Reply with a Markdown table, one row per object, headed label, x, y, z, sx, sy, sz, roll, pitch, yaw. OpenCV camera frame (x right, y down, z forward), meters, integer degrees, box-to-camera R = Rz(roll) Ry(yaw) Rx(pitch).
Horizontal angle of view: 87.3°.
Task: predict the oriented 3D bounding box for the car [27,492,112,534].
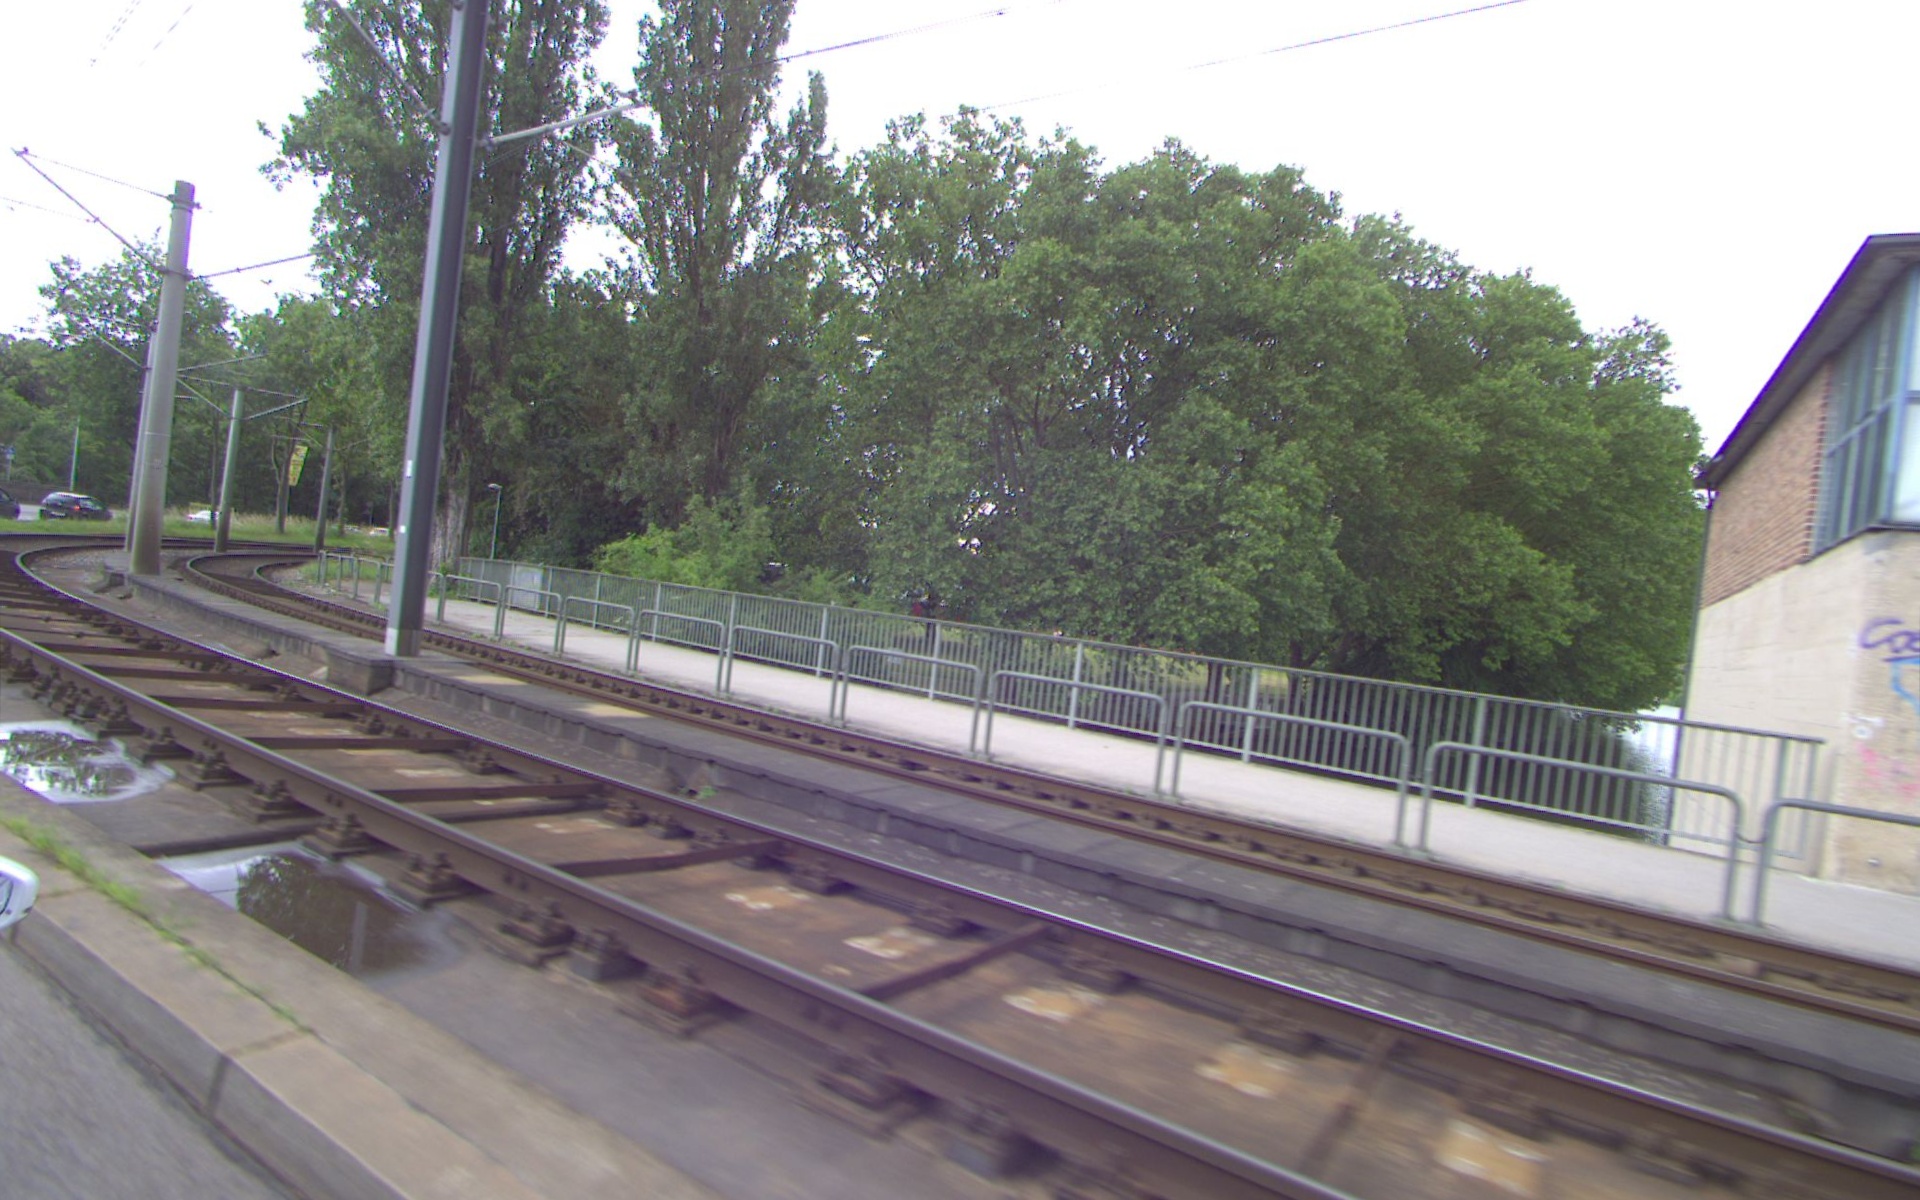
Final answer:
| label | x | y | z | sx | sy | sz | roll | pitch | yaw |
| --- | --- | --- | --- | --- | --- | --- | --- | --- | --- |
| car | -42.181 | -4.082 | 47.752 | 1.754 | 1.574 | 4.214 | 7 | 0 | -25 |

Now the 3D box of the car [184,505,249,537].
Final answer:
| label | x | y | z | sx | sy | sz | roll | pitch | yaw |
| --- | --- | --- | --- | --- | --- | --- | --- | --- | --- |
| car | -46.387 | -4.915 | 62.868 | 1.774 | 1.734 | 3.973 | 6 | 2 | -14 |

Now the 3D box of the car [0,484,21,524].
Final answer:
| label | x | y | z | sx | sy | sz | roll | pitch | yaw |
| --- | --- | --- | --- | --- | --- | --- | --- | --- | --- |
| car | -39.100 | -3.928 | 39.814 | 1.778 | 1.575 | 4.351 | 6 | 1 | -30 |
